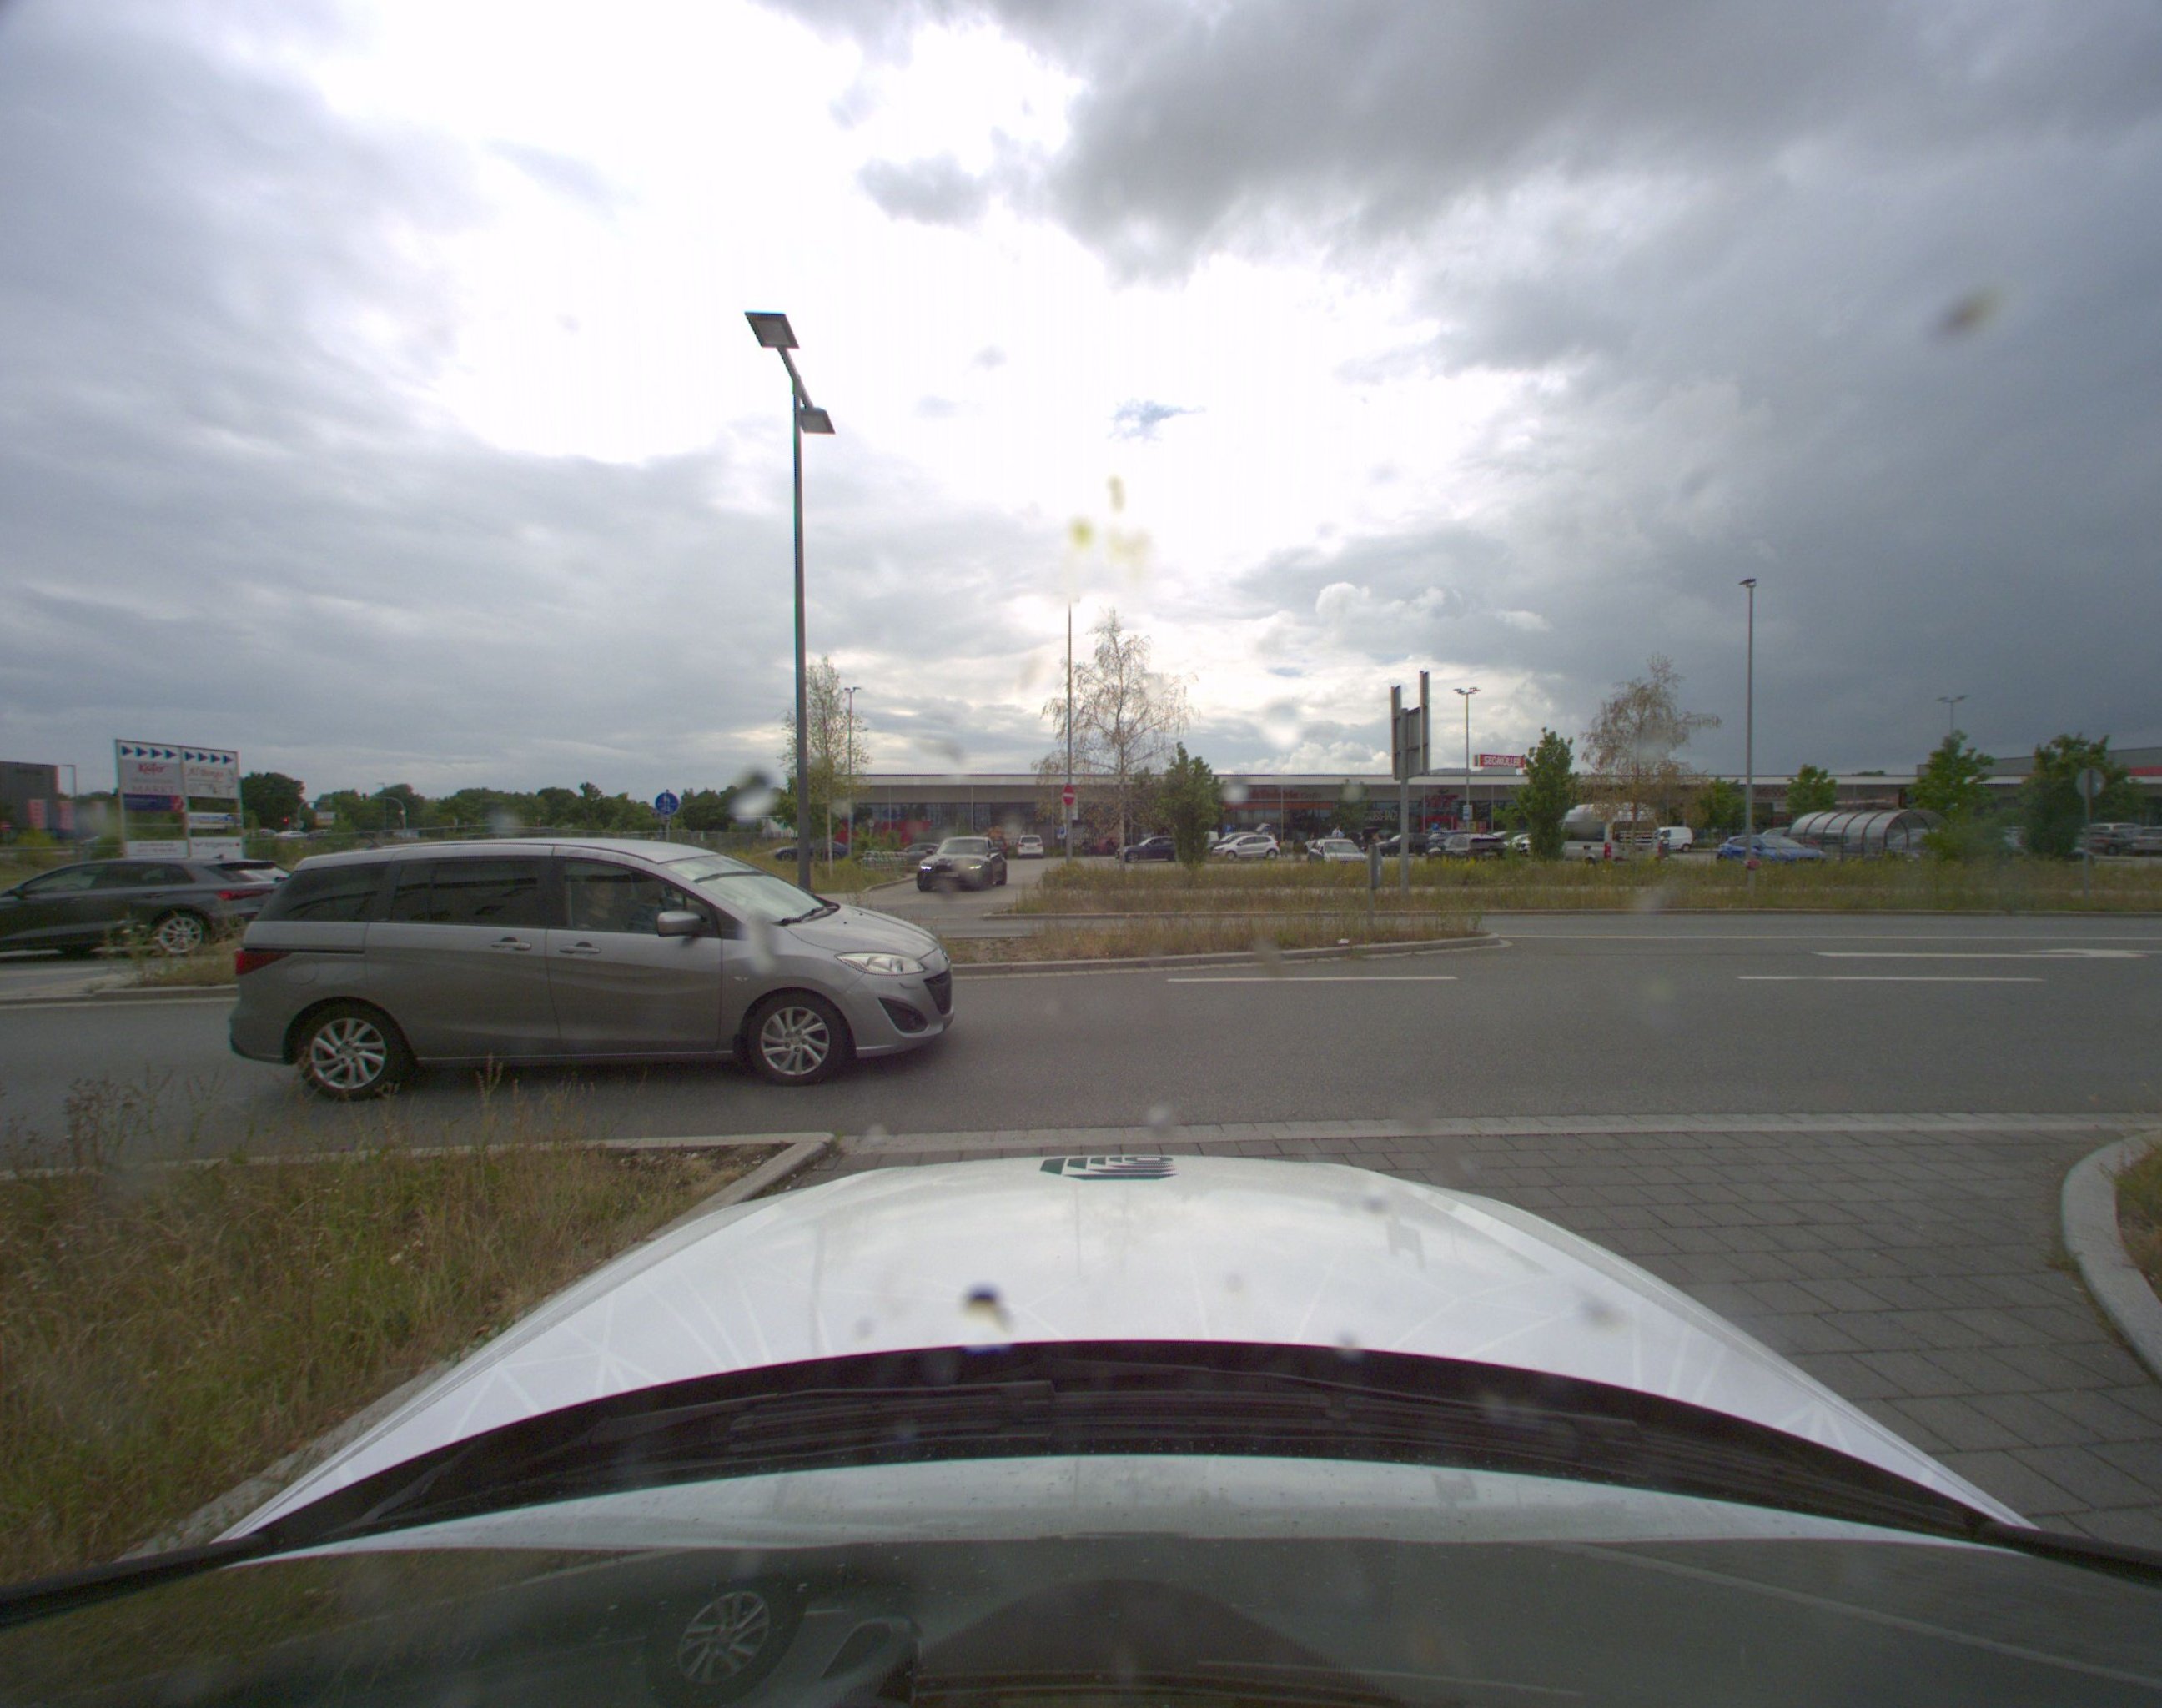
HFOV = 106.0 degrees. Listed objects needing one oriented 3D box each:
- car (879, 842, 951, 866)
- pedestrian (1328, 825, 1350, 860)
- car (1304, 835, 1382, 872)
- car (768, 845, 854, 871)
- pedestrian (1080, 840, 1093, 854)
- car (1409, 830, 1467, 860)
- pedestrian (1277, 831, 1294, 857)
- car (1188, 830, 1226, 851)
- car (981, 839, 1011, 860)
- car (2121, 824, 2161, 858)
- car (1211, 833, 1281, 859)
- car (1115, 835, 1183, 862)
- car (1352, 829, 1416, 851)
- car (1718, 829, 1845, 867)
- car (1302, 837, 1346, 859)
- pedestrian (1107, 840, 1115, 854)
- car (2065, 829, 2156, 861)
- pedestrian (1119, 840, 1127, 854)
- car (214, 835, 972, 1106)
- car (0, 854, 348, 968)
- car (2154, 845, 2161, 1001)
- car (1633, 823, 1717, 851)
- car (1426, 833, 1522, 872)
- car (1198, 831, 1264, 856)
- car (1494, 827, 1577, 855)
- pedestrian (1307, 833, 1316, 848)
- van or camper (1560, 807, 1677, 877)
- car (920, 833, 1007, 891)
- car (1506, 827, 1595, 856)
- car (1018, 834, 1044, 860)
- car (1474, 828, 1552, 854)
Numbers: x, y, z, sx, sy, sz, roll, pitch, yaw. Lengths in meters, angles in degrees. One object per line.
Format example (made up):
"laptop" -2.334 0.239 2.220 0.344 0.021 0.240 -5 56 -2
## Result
"car" -9.627 -0.034 47.585 3.984 1.352 1.995 0 1 -8
"pedestrian" 14.999 -0.677 47.433 0.865 2.013 1.000 -1 1 -11
"car" 10.488 -0.062 32.915 1.980 1.384 4.153 0 1 3
"car" -17.303 0.228 52.444 5.007 1.557 1.994 0 1 -10
"pedestrian" 0.463 -0.627 68.970 0.970 1.154 1.130 -1 1 -7
"car" 20.655 -0.546 47.282 1.806 1.653 4.004 -1 1 3
"pedestrian" 12.692 -0.635 50.556 0.819 1.631 0.899 0 1 0
"car" 9.365 -1.036 60.850 1.989 1.508 3.996 -1 2 -3
"car" -6.100 -0.358 58.957 1.902 1.443 3.997 -1 1 -3
"car" 57.927 -0.726 43.150 3.992 1.733 1.991 -1 2 -14
"car" 9.609 -0.508 47.523 3.741 1.454 1.665 -1 1 -6
"car" 3.869 -0.335 46.642 3.602 1.454 1.664 -1 1 -7
"car" 22.369 -1.057 60.140 3.979 1.508 1.998 -1 2 -4
"car" 27.125 -0.246 31.719 1.794 1.384 4.159 0 1 8
"car" 18.381 -0.478 61.692 1.989 1.508 3.996 -1 2 -3
"pedestrian" 2.511 -0.603 68.753 0.576 1.124 0.560 -1 1 -9
"car" 57.368 -0.510 45.408 3.829 1.653 1.755 -1 2 -14
"pedestrian" 3.497 -0.592 67.844 0.576 1.124 0.560 -1 1 -9
"car" -3.105 0.692 6.008 4.377 1.562 1.820 -1 3 -3
"car" -14.051 0.778 12.113 4.308 1.466 1.791 -1 2 -11
"car" 11.720 0.613 6.362 4.271 1.386 1.760 -1 1 2
"car" 39.624 -1.149 54.393 4.411 1.818 1.995 0 1 -8
"car" 15.553 -0.104 32.482 1.980 1.451 4.153 0 1 3
"car" 9.270 -0.657 50.531 3.741 1.454 1.665 -1 1 -6
"car" 27.792 -0.799 49.883 3.970 1.617 2.002 -1 1 3
"pedestrian" 19.507 -1.149 68.996 0.559 1.201 0.527 -1 1 -5
"van or camper" 20.391 -0.445 31.120 2.270 2.492 4.010 0 1 8
"car" -3.151 0.177 22.686 1.774 1.445 4.608 -1 1 -1
"car" 26.892 -0.726 46.739 3.970 1.617 2.002 -1 1 3
"car" -3.585 -0.528 58.900 1.819 1.699 4.231 -1 2 -2
"car" 27.855 -0.833 52.628 3.970 1.617 2.002 -1 1 3
